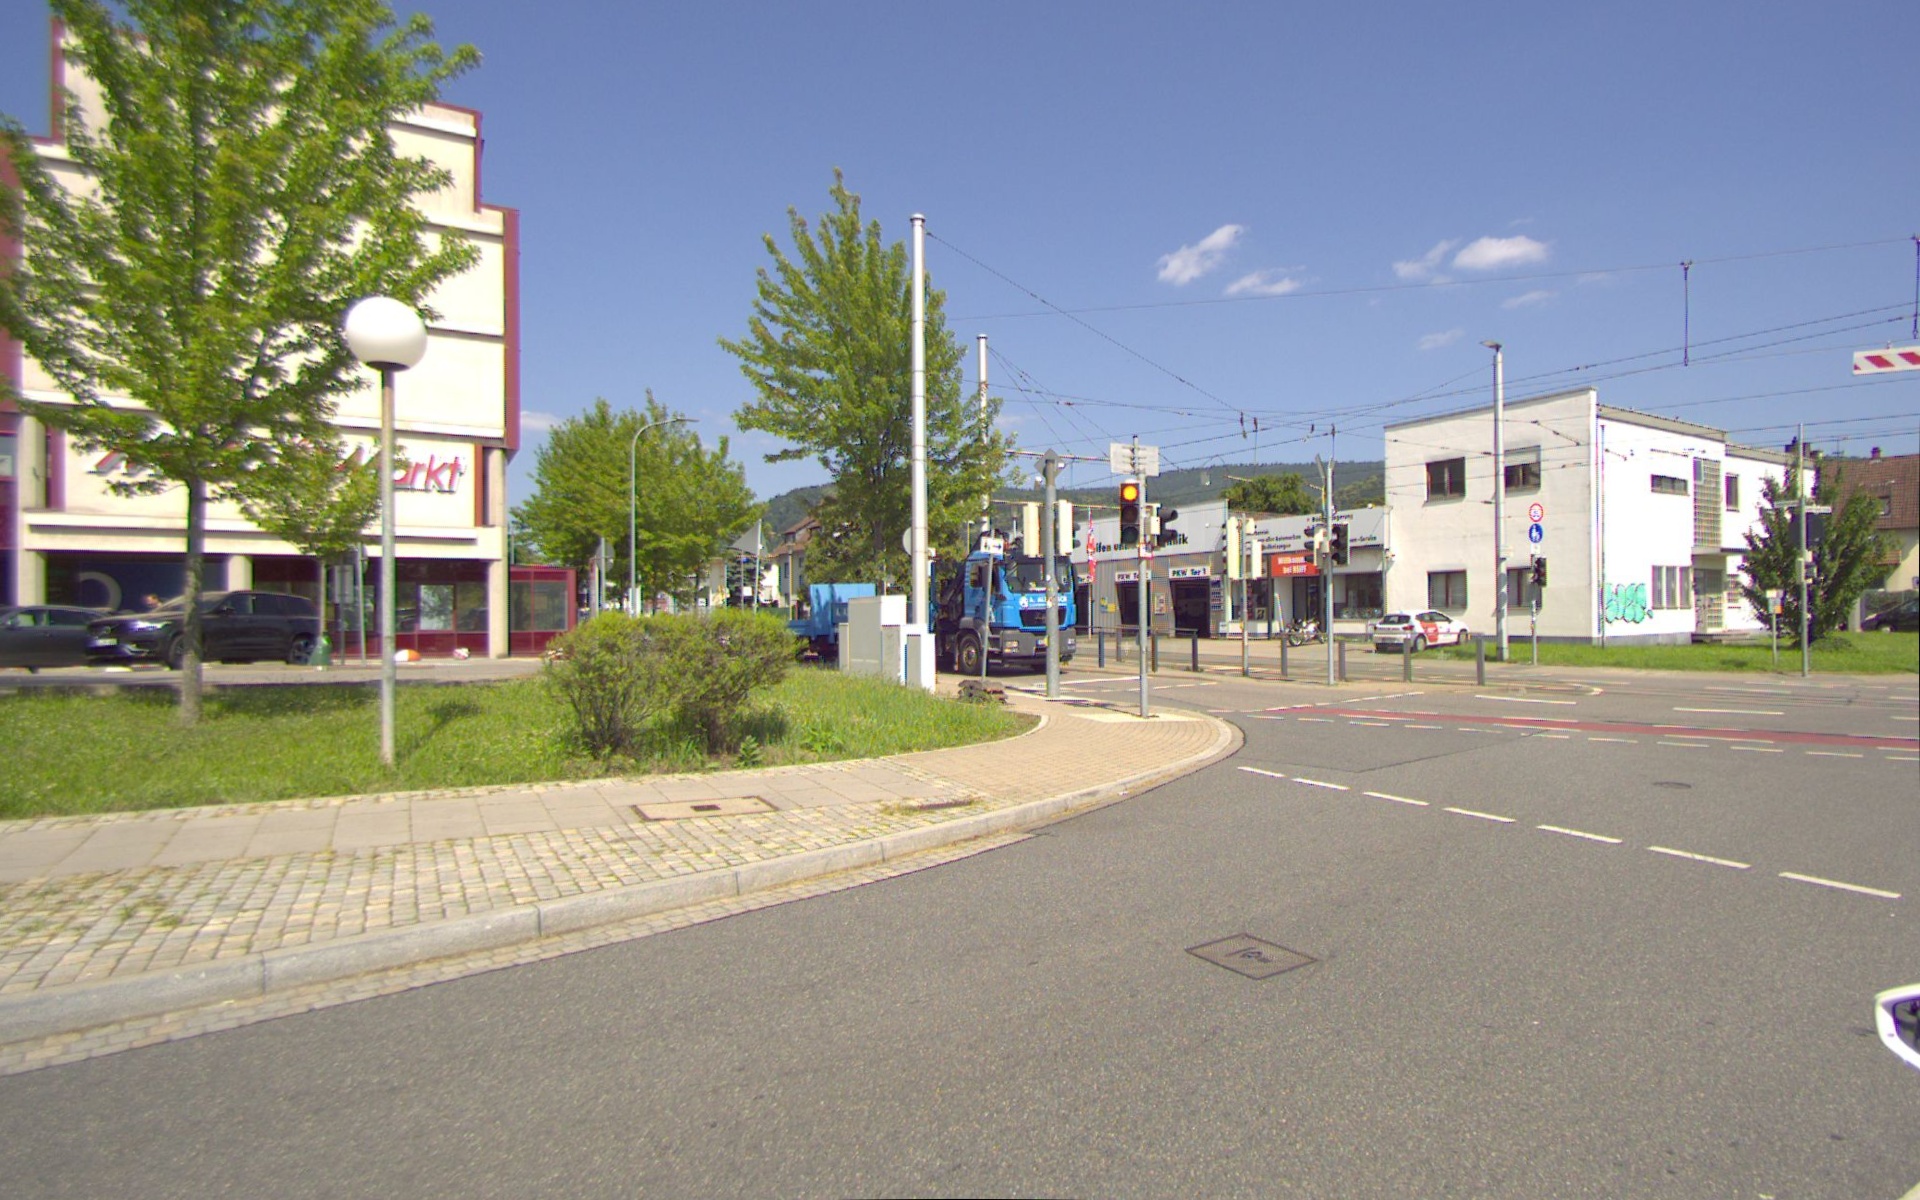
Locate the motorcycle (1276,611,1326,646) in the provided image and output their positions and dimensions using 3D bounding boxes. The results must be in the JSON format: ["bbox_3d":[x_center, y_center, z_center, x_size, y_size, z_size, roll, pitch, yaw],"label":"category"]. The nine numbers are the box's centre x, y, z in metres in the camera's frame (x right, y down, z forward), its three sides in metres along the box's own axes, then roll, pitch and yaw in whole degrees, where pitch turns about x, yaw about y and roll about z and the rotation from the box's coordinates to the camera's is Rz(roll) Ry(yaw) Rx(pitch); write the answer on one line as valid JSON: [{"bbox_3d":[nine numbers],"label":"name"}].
[{"bbox_3d":[14.193,1.168,41.806,2.166,1.326,0.725,-4,1,-33],"label":"motorcycle"}]

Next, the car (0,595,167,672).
[{"bbox_3d":[-19.423,0.686,20.585,1.879,1.512,4.873,0,-2,12],"label":"car"}]

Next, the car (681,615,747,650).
[{"bbox_3d":[-11.288,1.449,45.950,1.709,1.492,4.243,-2,0,-31],"label":"car"}]

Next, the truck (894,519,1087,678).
[{"bbox_3d":[0.648,-0.015,25.980,2.721,3.657,4.997,0,0,-31],"label":"truck"}]

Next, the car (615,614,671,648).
[{"bbox_3d":[-14.678,1.429,46.401,1.708,1.482,3.874,2,-1,-29],"label":"car"}]

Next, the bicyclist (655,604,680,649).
[{"bbox_3d":[-9.744,0.882,33.457,0.712,1.467,0.918,2,0,-21],"label":"bicyclist"}]

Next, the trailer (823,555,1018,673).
[{"bbox_3d":[-1.363,0.383,29.315,2.721,3.017,6.840,0,0,-31],"label":"trailer"}]

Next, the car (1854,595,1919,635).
[{"bbox_3d":[45.010,0.675,46.439,1.983,1.840,5.207,0,-2,-39],"label":"car"}]

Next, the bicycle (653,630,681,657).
[{"bbox_3d":[-9.783,1.444,33.513,0.718,0.804,1.834,2,0,-21],"label":"bicycle"}]

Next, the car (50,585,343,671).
[{"bbox_3d":[-16.419,0.683,22.070,2.143,1.615,5.120,-2,-3,7],"label":"car"}]

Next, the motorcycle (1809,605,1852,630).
[{"bbox_3d":[38.779,0.800,44.725,2.542,1.046,0.846,2,0,-35],"label":"motorcycle"}]

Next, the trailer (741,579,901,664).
[{"bbox_3d":[-5.089,0.718,35.423,2.775,2.663,7.534,0,0,-32],"label":"trailer"}]

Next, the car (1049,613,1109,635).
[{"bbox_3d":[7.885,1.539,66.489,3.736,1.394,1.708,0,0,-36],"label":"car"}]

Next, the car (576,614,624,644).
[{"bbox_3d":[-18.717,1.474,52.121,1.745,1.539,3.969,0,-1,-30],"label":"car"}]

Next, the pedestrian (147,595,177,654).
[{"bbox_3d":[-18.997,0.578,23.927,0.516,1.374,0.458,0,-1,-35],"label":"pedestrian"}]

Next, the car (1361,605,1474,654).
[{"bbox_3d":[16.751,1.049,36.738,3.956,1.482,1.873,-4,1,-33],"label":"car"}]
